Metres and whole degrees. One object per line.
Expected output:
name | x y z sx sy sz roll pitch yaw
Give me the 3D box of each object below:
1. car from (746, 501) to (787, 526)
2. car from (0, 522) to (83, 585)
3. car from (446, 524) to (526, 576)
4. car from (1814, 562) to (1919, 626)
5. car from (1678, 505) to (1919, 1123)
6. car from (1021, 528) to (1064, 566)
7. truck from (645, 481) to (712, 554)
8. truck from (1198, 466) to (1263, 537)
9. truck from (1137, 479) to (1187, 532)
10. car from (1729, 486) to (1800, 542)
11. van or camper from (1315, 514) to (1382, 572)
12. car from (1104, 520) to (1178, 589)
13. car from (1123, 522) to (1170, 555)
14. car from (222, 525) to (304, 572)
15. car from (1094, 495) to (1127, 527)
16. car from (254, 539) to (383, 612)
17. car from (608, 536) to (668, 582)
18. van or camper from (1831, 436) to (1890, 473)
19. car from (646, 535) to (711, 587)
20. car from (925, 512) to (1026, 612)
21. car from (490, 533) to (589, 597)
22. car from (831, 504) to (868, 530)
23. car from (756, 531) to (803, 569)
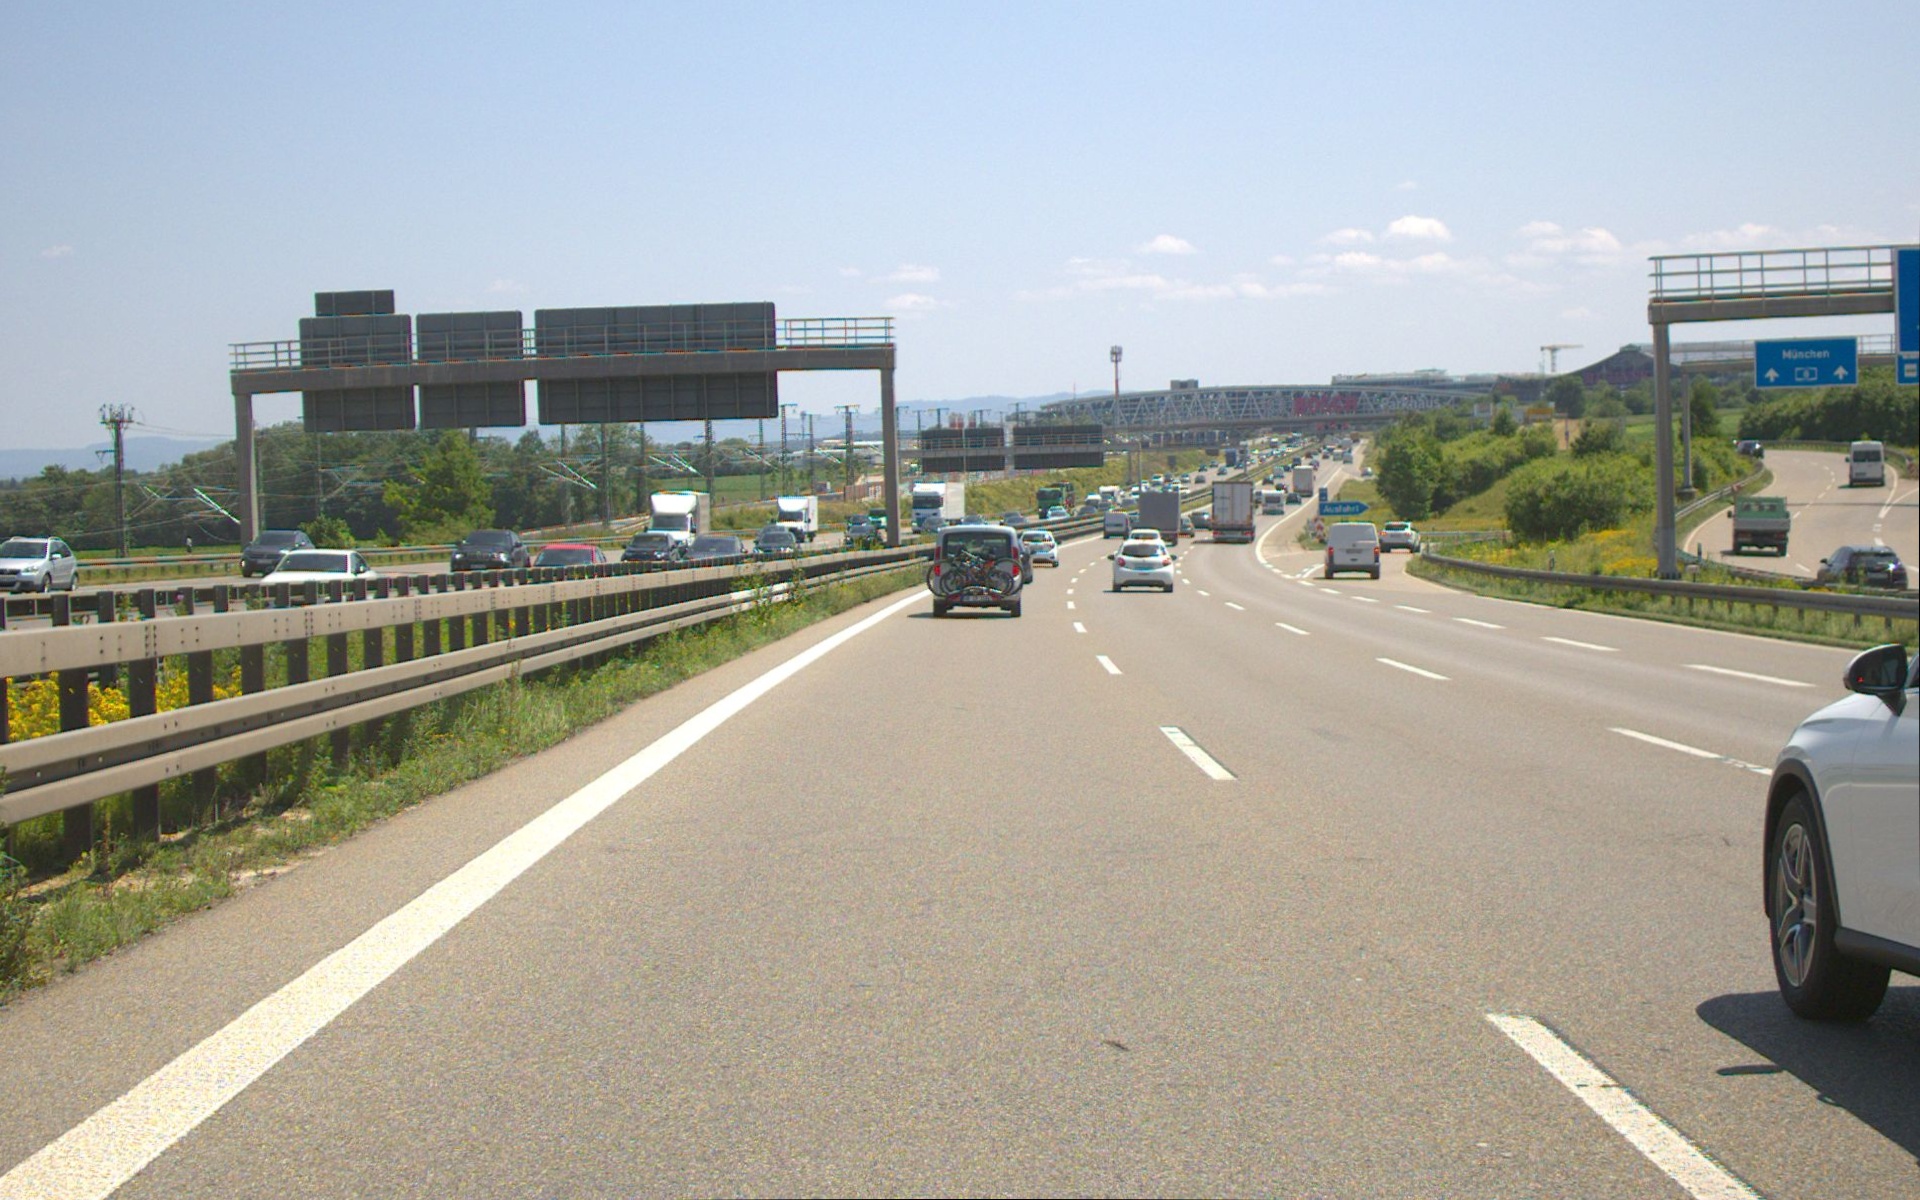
car | -10.823 -4.859 192.816 1.905 1.415 4.000 0 2 3
car | -23.739 -1.190 86.671 2.105 1.526 4.372 0 1 1
car | -15.357 -1.630 111.593 1.847 1.650 4.910 1 1 1
car | 23.578 -0.172 88.980 1.993 1.590 4.000 0 1 1
car | 3.498 0.570 9.393 1.898 1.641 4.999 0 1 -1
car | 3.425 -2.191 142.259 1.576 1.547 3.963 0 1 4
truck | -13.036 -3.791 159.410 2.376 3.266 7.661 0 1 1
truck | 17.666 -6.485 223.996 4.040 4.247 11.757 0 3 5
truck | 12.468 -5.768 211.673 2.703 3.098 10.657 0 1 5
car | 29.955 -3.187 128.101 1.994 2.007 3.999 0 1 5
van or camper | 13.642 -1.999 120.939 2.156 2.007 4.304 0 1 4
car | 5.157 -1.296 98.448 1.926 1.912 4.518 0 1 1
car | 8.533 -2.829 157.246 1.982 1.468 3.999 0 1 5
car | -23.534 -1.757 116.169 1.847 1.526 4.223 1 1 1
car | 10.471 -6.180 238.461 2.186 1.996 4.001 1 4 4
car | -12.932 -0.514 69.508 1.657 1.398 4.759 1 1 1
car | -11.436 -1.461 122.280 1.675 1.619 4.085 0 1 1
van or camper | 51.559 -8.336 196.994 2.529 2.007 4.460 0 1 5
car | -8.993 -1.258 109.978 1.675 1.609 4.362 0 1 1
car | 0.352 -0.774 69.049 1.927 1.912 4.948 0 1 1
car | -9.734 -0.834 79.931 1.657 1.419 4.776 1 1 1
car | -6.374 -4.790 198.412 1.790 1.459 4.859 0 2 3
car | -7.935 -2.205 151.068 1.748 1.619 4.831 0 1 1
